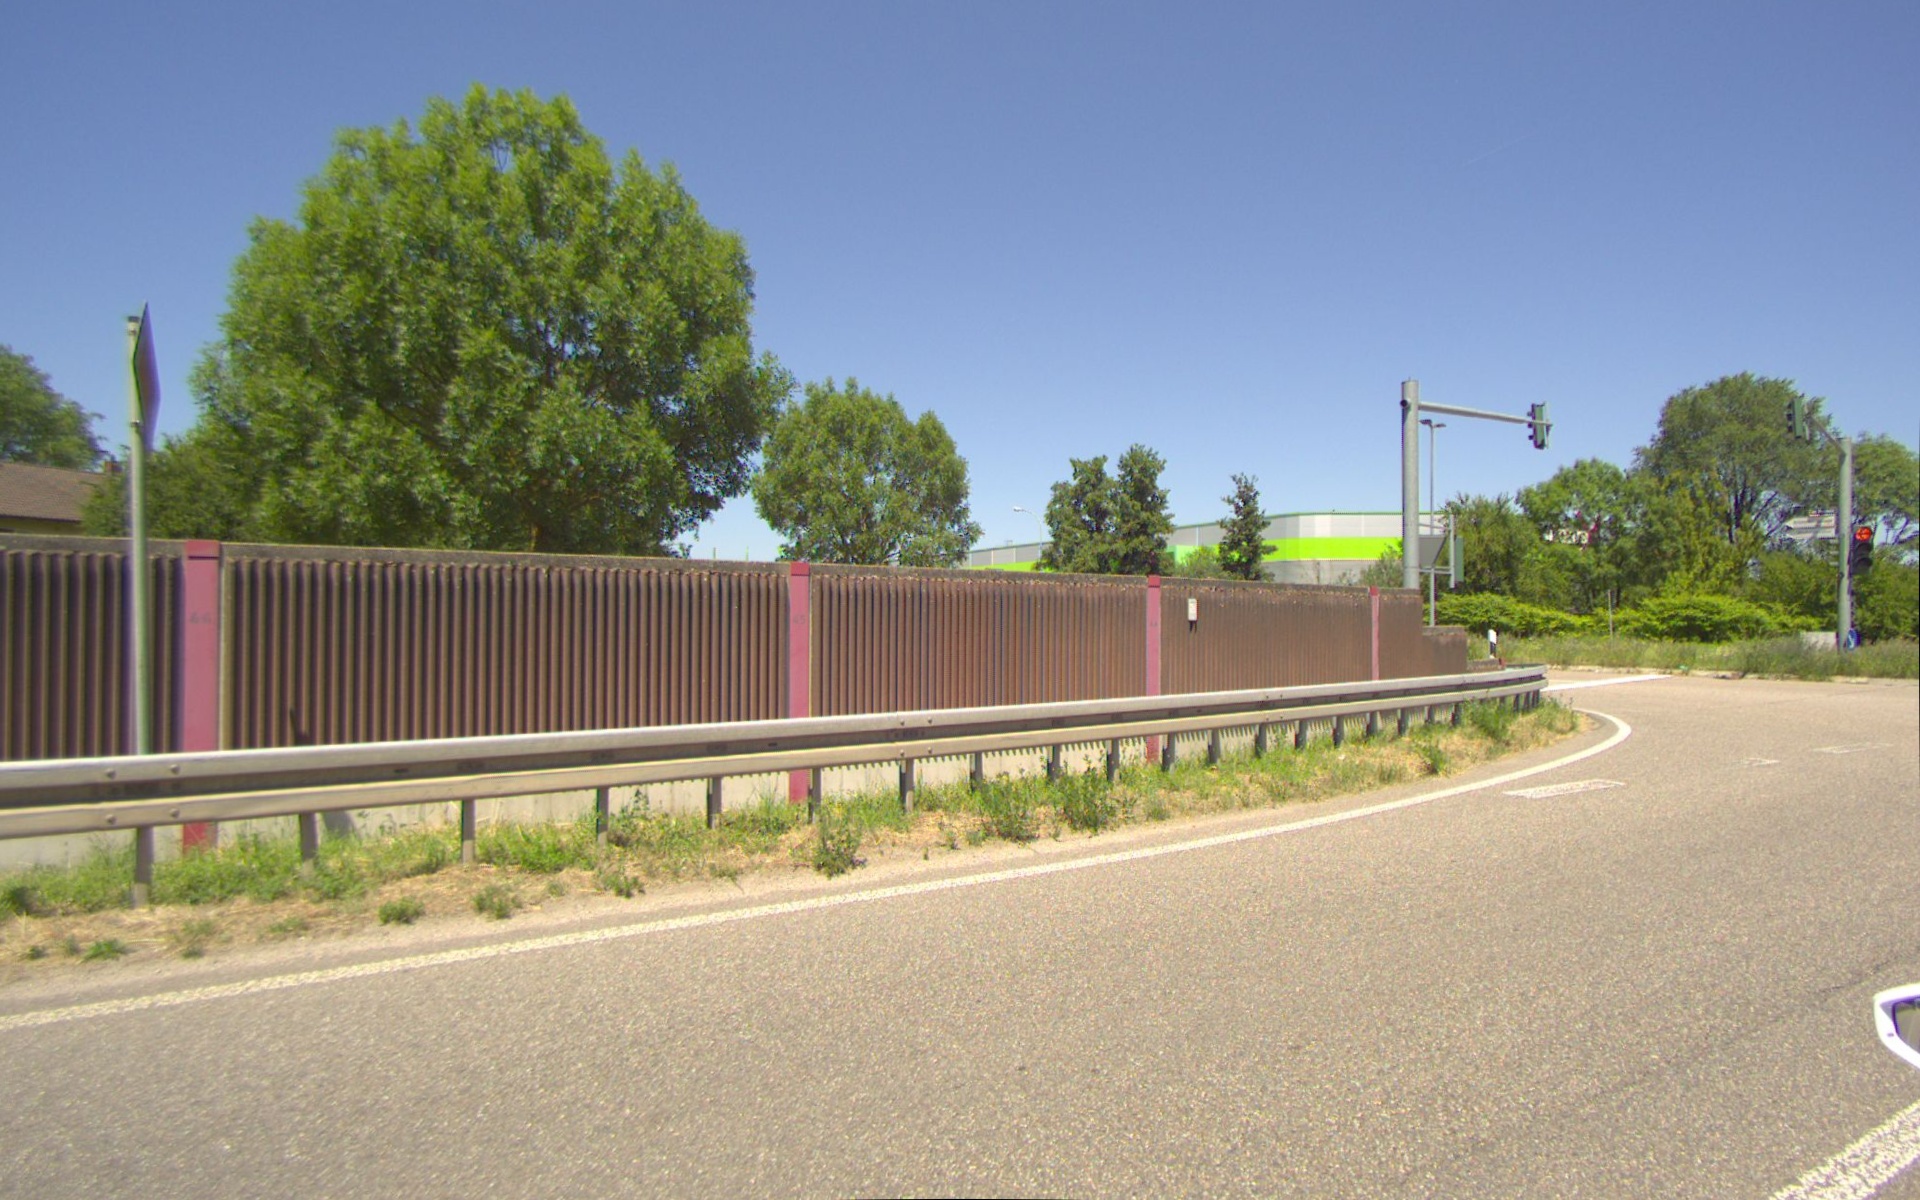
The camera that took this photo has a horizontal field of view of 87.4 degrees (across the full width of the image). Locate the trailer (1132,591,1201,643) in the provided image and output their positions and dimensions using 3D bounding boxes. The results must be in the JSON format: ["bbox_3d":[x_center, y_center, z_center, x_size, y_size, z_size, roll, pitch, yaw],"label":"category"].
[{"bbox_3d":[11.677,0.944,56.703,3.682,2.801,1.827,1,0,14],"label":"trailer"}]
